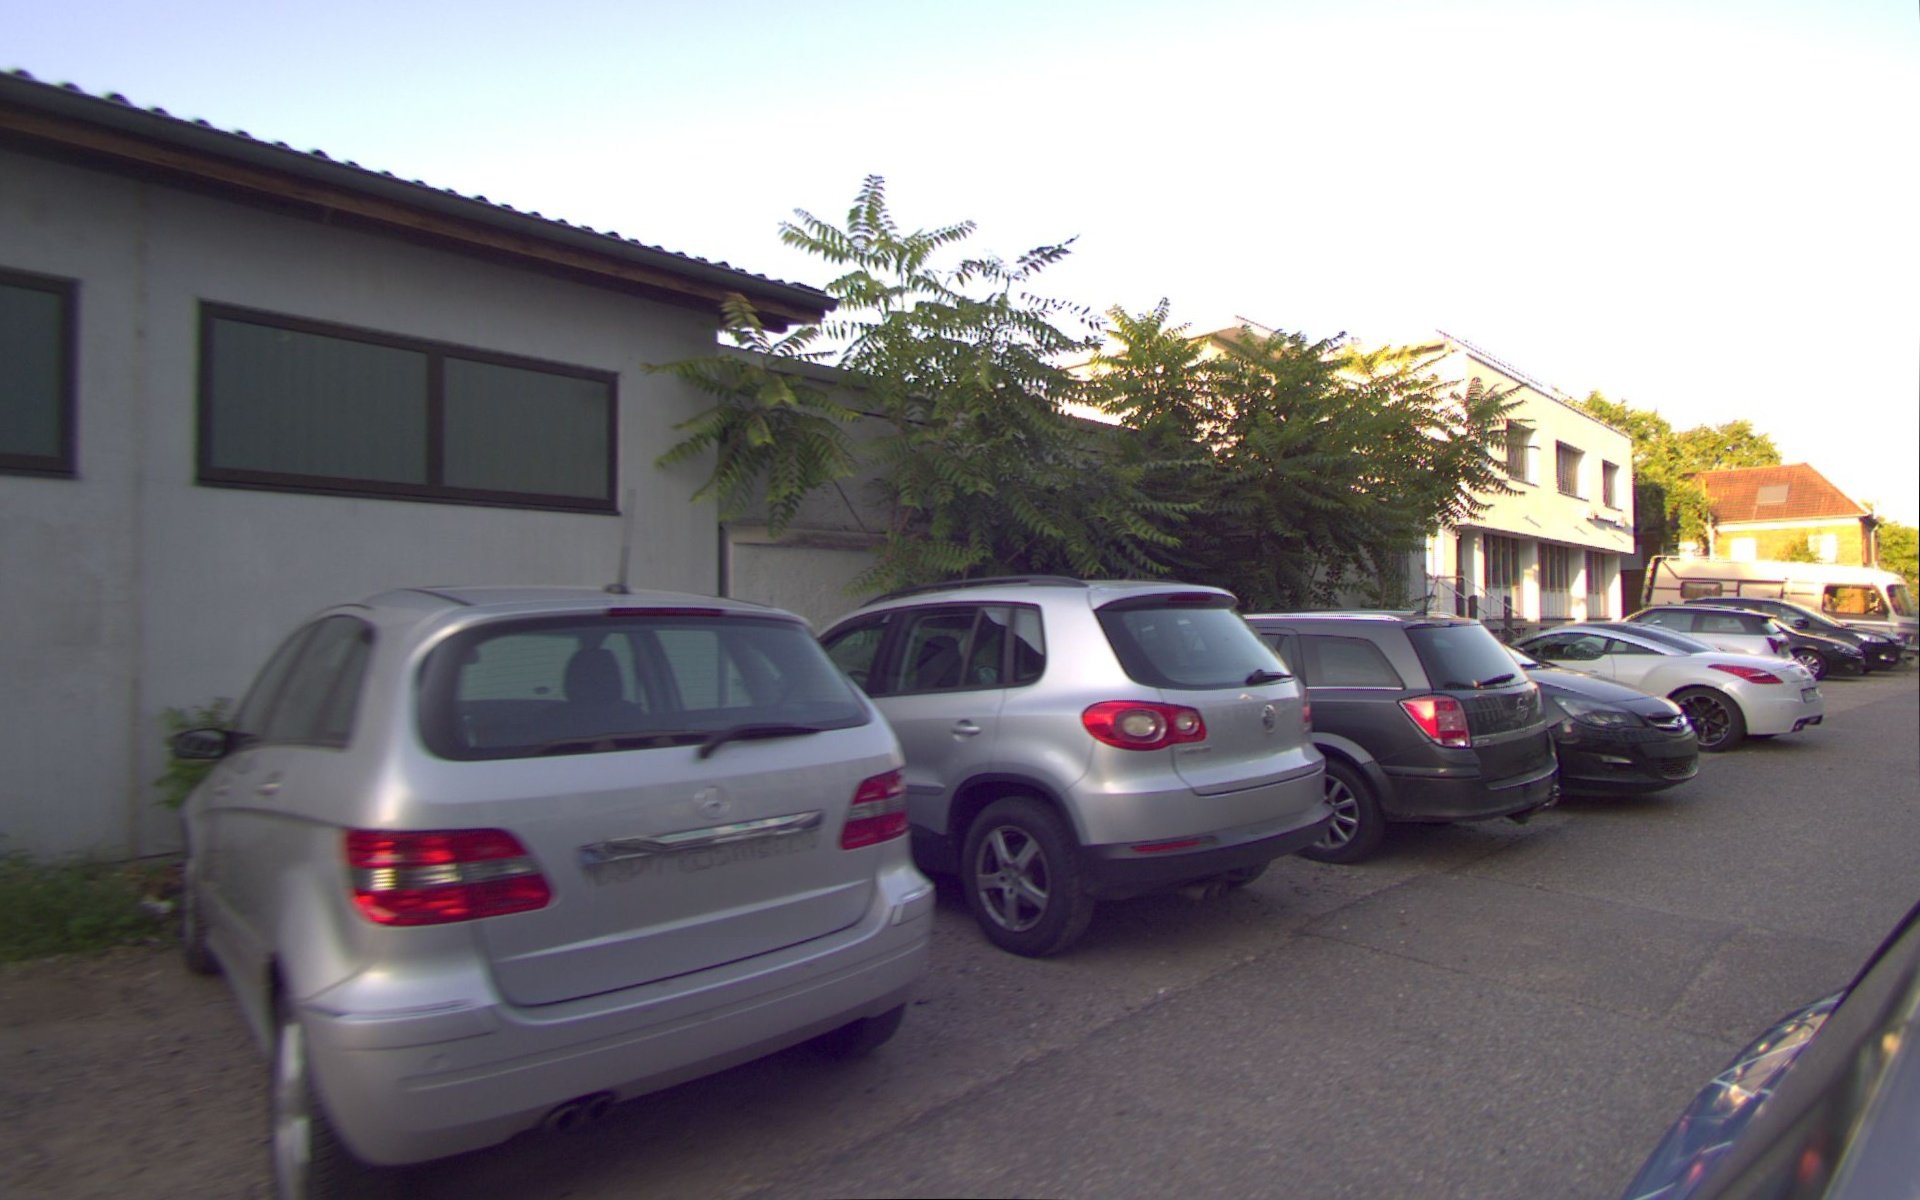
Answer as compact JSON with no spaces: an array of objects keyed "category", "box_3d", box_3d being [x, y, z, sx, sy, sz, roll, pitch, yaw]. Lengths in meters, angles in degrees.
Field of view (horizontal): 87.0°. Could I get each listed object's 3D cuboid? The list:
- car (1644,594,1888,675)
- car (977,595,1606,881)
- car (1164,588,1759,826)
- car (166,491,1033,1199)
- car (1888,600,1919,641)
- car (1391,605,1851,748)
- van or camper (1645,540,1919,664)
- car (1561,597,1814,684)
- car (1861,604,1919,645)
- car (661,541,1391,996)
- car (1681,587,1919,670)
[{"category":"car","box_3d":[17.524,0.686,22.121,1.684,1.583,4.007,1,0,-44]},{"category":"car","box_3d":[2.112,0.770,7.378,1.795,1.464,3.991,-1,-1,-39]},{"category":"car","box_3d":[4.033,0.747,8.780,1.856,1.522,4.211,-1,-1,-38]},{"category":"car","box_3d":[-1.803,0.677,4.007,1.905,1.630,3.989,1,-2,-41]},{"category":"car","box_3d":[35.114,0.758,35.179,1.863,1.425,4.061,1,0,-42]},{"category":"car","box_3d":[7.616,0.809,12.070,1.789,1.385,4.213,1,-2,-36]},{"category":"van or camper","box_3d":[21.697,0.024,26.538,2.444,2.900,5.789,0,0,-41]},{"category":"car","box_3d":[13.931,0.708,19.522,1.682,1.498,3.710,1,0,-41]},{"category":"car","box_3d":[33.127,0.829,33.848,1.864,1.350,4.321,0,0,-42]},{"category":"car","box_3d":[0.066,0.673,5.754,1.796,1.640,3.986,1,-2,-43]},{"category":"car","box_3d":[19.910,0.593,23.950,1.930,1.763,4.254,0,0,-35]}]
